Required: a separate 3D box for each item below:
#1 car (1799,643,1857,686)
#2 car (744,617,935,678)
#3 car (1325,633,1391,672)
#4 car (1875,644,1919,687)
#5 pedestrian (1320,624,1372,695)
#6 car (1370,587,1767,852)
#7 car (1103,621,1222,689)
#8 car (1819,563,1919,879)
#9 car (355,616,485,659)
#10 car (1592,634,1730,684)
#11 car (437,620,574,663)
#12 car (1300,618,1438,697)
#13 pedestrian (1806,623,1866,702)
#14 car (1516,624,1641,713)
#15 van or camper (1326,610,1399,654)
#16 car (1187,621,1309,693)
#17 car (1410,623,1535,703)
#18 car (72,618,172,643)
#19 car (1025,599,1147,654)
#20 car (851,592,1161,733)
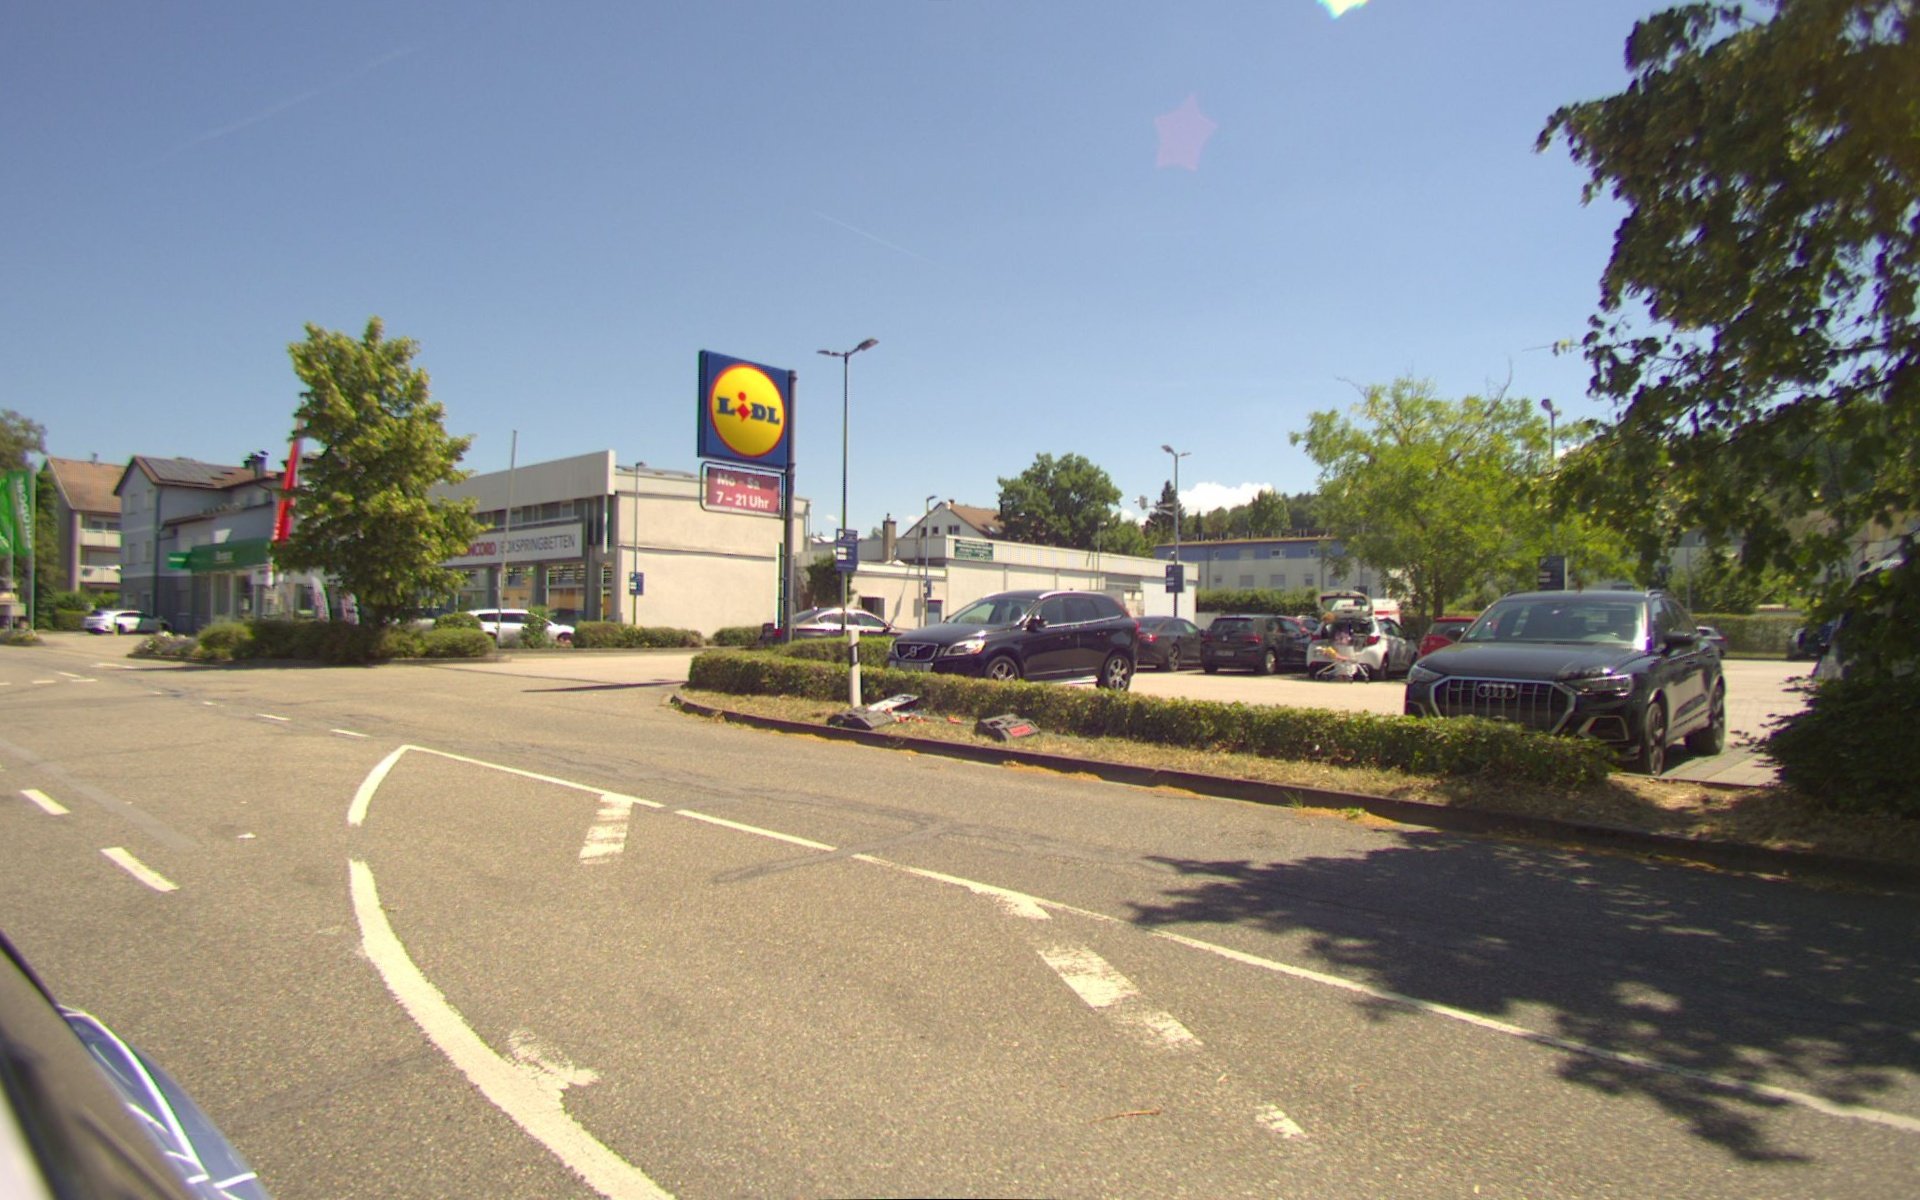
[{"bbox_3d":[38.038,2.774,44.422,1.797,1.613,3.948,0,0,39],"label":"car"},{"bbox_3d":[-3.033,1.159,26.165,4.615,1.411,1.942,1,-1,-41],"label":"car"},{"bbox_3d":[16.188,2.086,41.064,1.764,1.379,4.203,0,-1,32],"label":"car"},{"bbox_3d":[40.272,2.764,43.030,1.797,1.613,3.948,0,0,39],"label":"car"},{"bbox_3d":[8.457,1.283,22.161,0.889,1.494,0.799,0,-1,36],"label":"pedestrian"},{"bbox_3d":[5.773,0.856,9.364,4.334,1.859,2.105,1,-1,-44],"label":"car"},{"bbox_3d":[5.443,1.377,26.810,1.764,1.601,4.203,0,-1,32],"label":"car"},{"bbox_3d":[7.903,0.782,7.683,1.902,1.995,4.315,0,-1,38],"label":"car"},{"bbox_3d":[-22.036,1.508,41.333,4.470,1.676,2.005,1,-2,-35],"label":"car"},{"bbox_3d":[25.500,2.092,36.863,3.997,1.613,1.775,0,-1,40],"label":"car"},{"bbox_3d":[-16.190,1.446,36.137,4.129,1.457,1.984,1,-2,-38],"label":"car"},{"bbox_3d":[9.936,1.294,24.413,2.110,1.667,4.273,0,-1,36],"label":"car"},{"bbox_3d":[20.677,1.452,23.900,0.764,1.820,0.750,0,0,11],"label":"pedestrian"},{"bbox_3d":[12.699,1.294,20.655,1.824,1.541,4.273,0,-1,36],"label":"car"},{"bbox_3d":[19.106,1.457,47.936,2.008,1.951,4.318,0,-1,39],"label":"van or camper"},{"bbox_3d":[7.385,1.364,25.663,1.906,1.618,4.279,0,-1,32],"label":"car"},{"bbox_3d":[11.528,1.312,22.613,1.824,1.541,4.273,0,-1,36],"label":"car"},{"bbox_3d":[-50.083,1.825,60.617,1.921,1.450,4.335,0,-1,14],"label":"car"},{"bbox_3d":[6.339,1.275,51.358,5.894,2.647,2.258,0,0,39],"label":"car"},{"bbox_3d":[0.837,0.812,15.197,2.099,1.775,4.654,0,-1,44],"label":"car"}]
